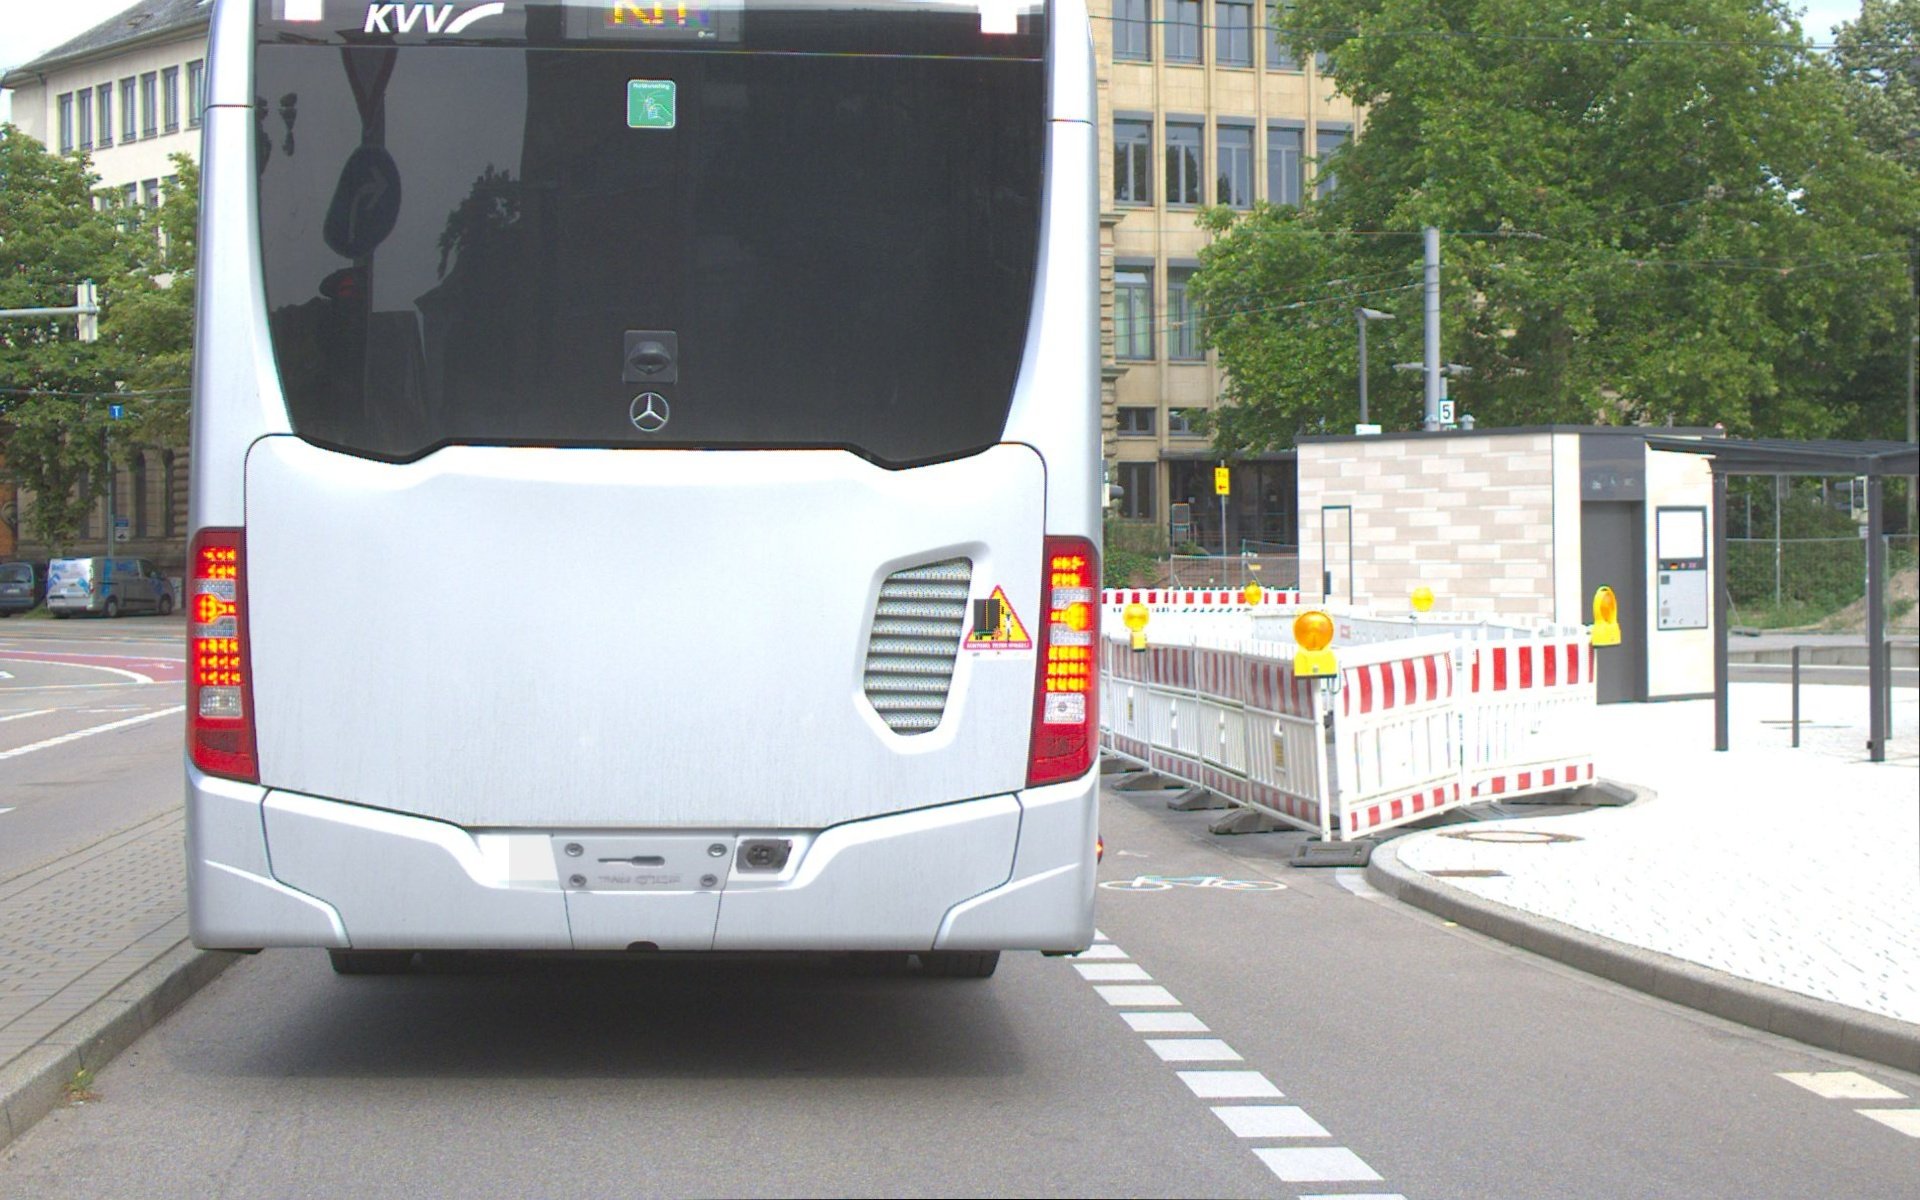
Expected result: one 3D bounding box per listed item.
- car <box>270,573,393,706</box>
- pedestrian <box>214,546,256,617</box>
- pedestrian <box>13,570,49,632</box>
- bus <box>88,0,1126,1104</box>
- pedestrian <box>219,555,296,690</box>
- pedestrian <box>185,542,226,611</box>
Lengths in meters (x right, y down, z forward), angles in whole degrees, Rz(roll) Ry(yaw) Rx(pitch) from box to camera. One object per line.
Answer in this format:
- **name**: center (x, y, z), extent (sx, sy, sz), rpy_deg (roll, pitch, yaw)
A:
- **car**: center (-10.786, 0.633, 58.949), extent (1.993, 2.006, 4.002), rpy_deg (-1, 3, -11)
- **pedestrian**: center (-20.830, -0.544, 98.758), extent (0.887, 2.007, 1.009), rpy_deg (-1, 1, -30)
- **pedestrian**: center (-30.275, 0.026, 112.068), extent (0.887, 2.007, 1.009), rpy_deg (-1, 1, -30)
- **bus**: center (-1.572, -0.428, 16.086), extent (2.704, 3.426, 14.186), rpy_deg (0, 0, -5)
- **pedestrian**: center (-9.147, 0.282, 44.792), extent (0.797, 1.705, 0.840), rpy_deg (0, 3, 1)
- **pedestrian**: center (-22.320, -0.701, 101.701), extent (0.887, 2.007, 1.009), rpy_deg (-1, 1, -30)
